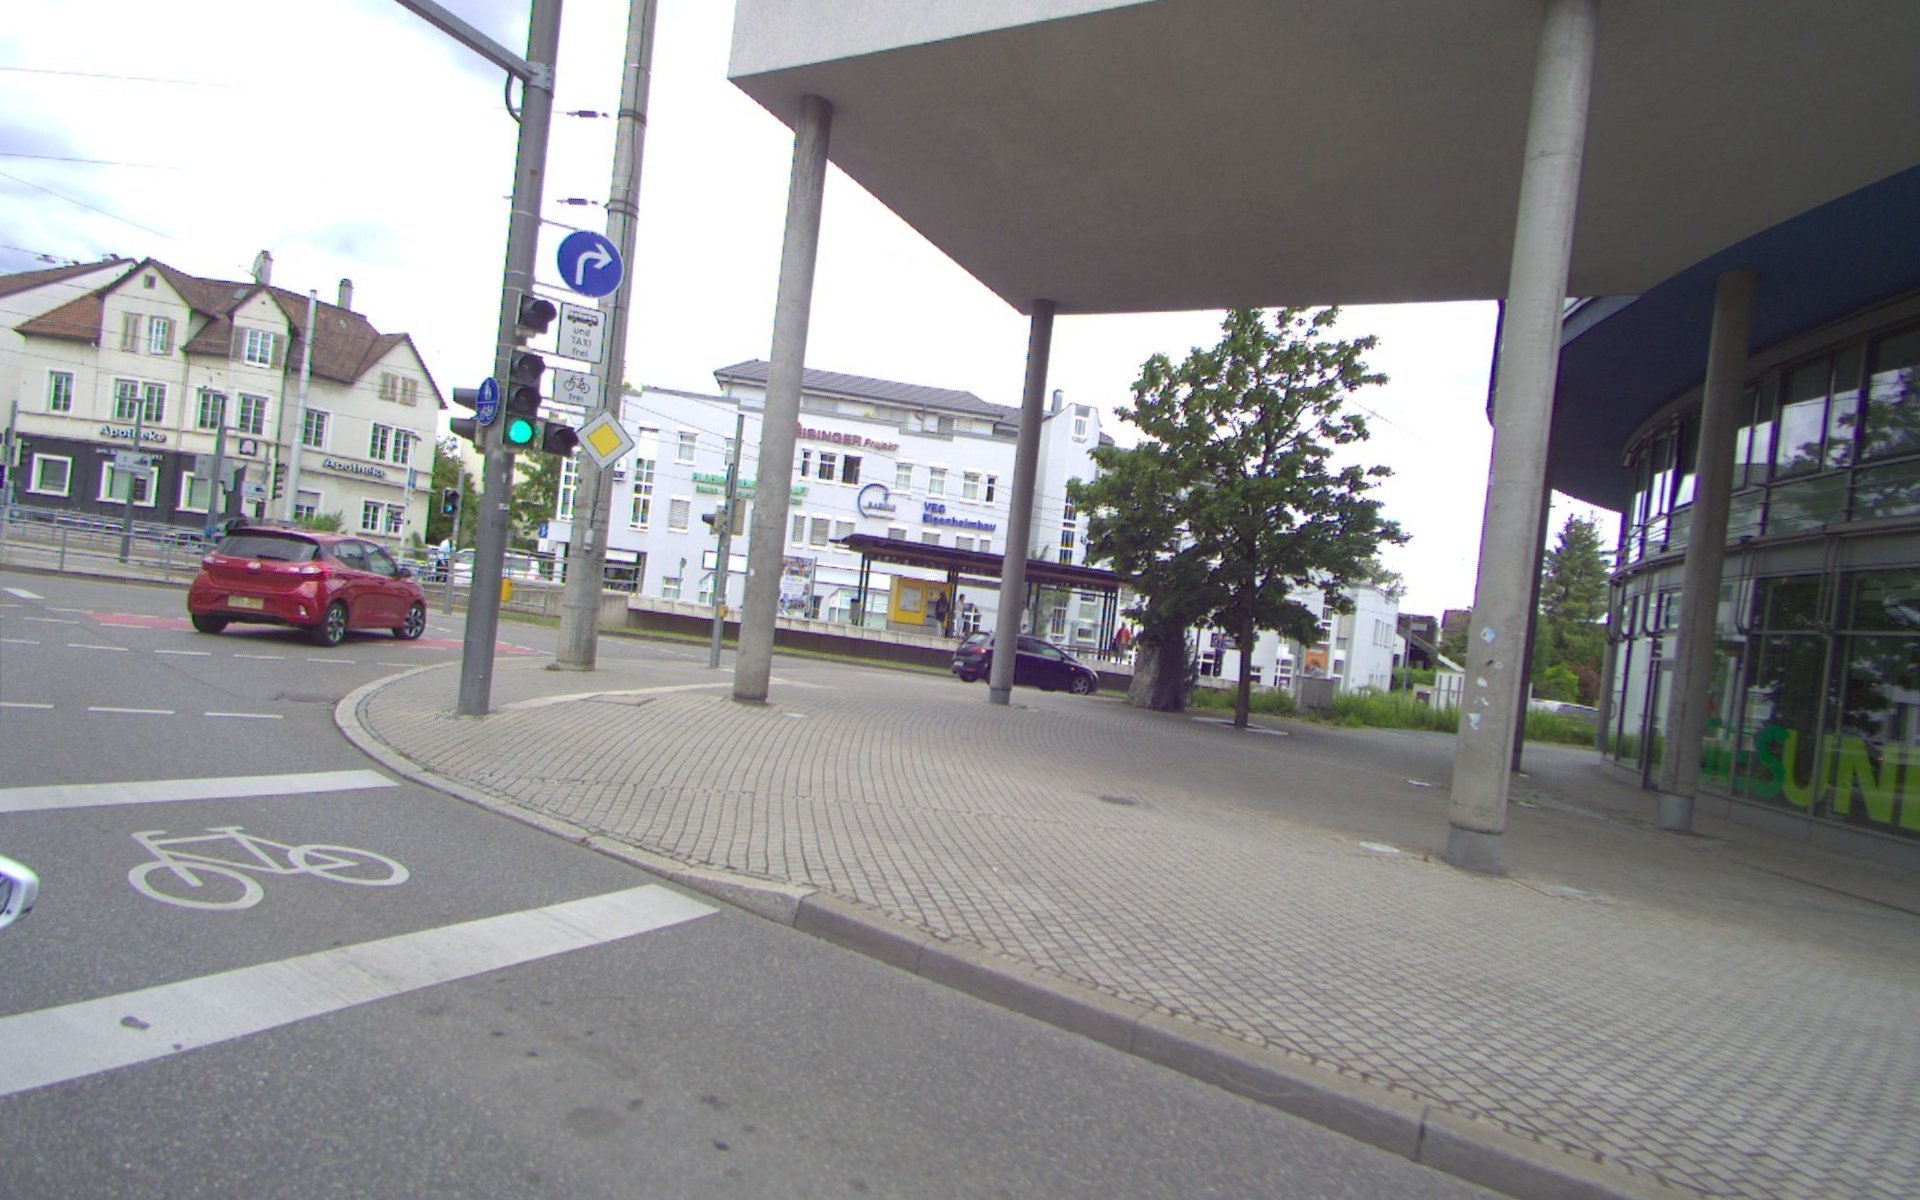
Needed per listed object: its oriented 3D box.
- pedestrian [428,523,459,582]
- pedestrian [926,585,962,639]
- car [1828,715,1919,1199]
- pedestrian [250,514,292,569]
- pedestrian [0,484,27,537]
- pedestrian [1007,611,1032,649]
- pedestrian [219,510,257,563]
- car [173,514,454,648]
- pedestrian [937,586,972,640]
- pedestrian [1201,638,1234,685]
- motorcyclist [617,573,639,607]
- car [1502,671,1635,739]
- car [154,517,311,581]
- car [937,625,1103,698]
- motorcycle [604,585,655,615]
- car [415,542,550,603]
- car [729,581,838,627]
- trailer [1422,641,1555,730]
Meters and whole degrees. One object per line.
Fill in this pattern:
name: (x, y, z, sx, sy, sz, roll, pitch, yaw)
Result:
pedestrian: (-16.018, -1.469, 31.202, 0.641, 1.740, 0.701, 6, 1, -23)
pedestrian: (-0.546, 0.398, 34.387, 0.780, 1.738, 0.686, 8, -1, -26)
car: (3.730, 1.184, 0.590, 4.494, 1.563, 1.999, 7, -2, 30)
pedestrian: (-23.847, -2.023, 34.810, 0.637, 1.738, 0.790, 8, -1, 17)
pedestrian: (-33.079, -3.126, 34.833, 0.714, 1.740, 0.843, 7, 1, 25)
pedestrian: (2.183, 1.099, 36.930, 0.581, 1.280, 0.567, 8, -1, -20)
pedestrian: (-25.112, -2.202, 34.979, 0.638, 1.740, 0.704, 7, 1, 22)
car: (-9.108, -0.222, 14.622, 1.674, 1.469, 3.997, 7, -1, -6)
pedestrian: (-0.188, 0.459, 35.806, 0.777, 1.795, 0.688, 7, -1, 38)
pedestrian: (10.118, 2.411, 39.539, 0.684, 1.738, 0.782, 8, -1, -34)
motorcyclist: (-14.652, -0.439, 44.354, 0.681, 1.410, 0.762, 7, -1, -11)
car: (22.986, 3.966, 37.979, 4.848, 1.969, 1.871, 8, -1, -27)
car: (-29.225, -1.994, 40.582, 4.627, 1.842, 1.858, 7, -2, -18)
car: (1.602, 1.631, 26.579, 3.952, 1.428, 1.728, 7, 0, -27)
motorcycle: (-14.548, 0.018, 44.380, 1.948, 1.086, 0.762, 7, -1, -11)
car: (-20.442, -1.155, 43.270, 4.705, 1.941, 1.987, 7, -2, -11)
car: (-8.055, 0.188, 45.995, 4.705, 1.488, 1.987, 7, -2, -11)
trailer: (18.947, 3.083, 36.020, 4.272, 2.645, 1.871, 7, 0, -27)
